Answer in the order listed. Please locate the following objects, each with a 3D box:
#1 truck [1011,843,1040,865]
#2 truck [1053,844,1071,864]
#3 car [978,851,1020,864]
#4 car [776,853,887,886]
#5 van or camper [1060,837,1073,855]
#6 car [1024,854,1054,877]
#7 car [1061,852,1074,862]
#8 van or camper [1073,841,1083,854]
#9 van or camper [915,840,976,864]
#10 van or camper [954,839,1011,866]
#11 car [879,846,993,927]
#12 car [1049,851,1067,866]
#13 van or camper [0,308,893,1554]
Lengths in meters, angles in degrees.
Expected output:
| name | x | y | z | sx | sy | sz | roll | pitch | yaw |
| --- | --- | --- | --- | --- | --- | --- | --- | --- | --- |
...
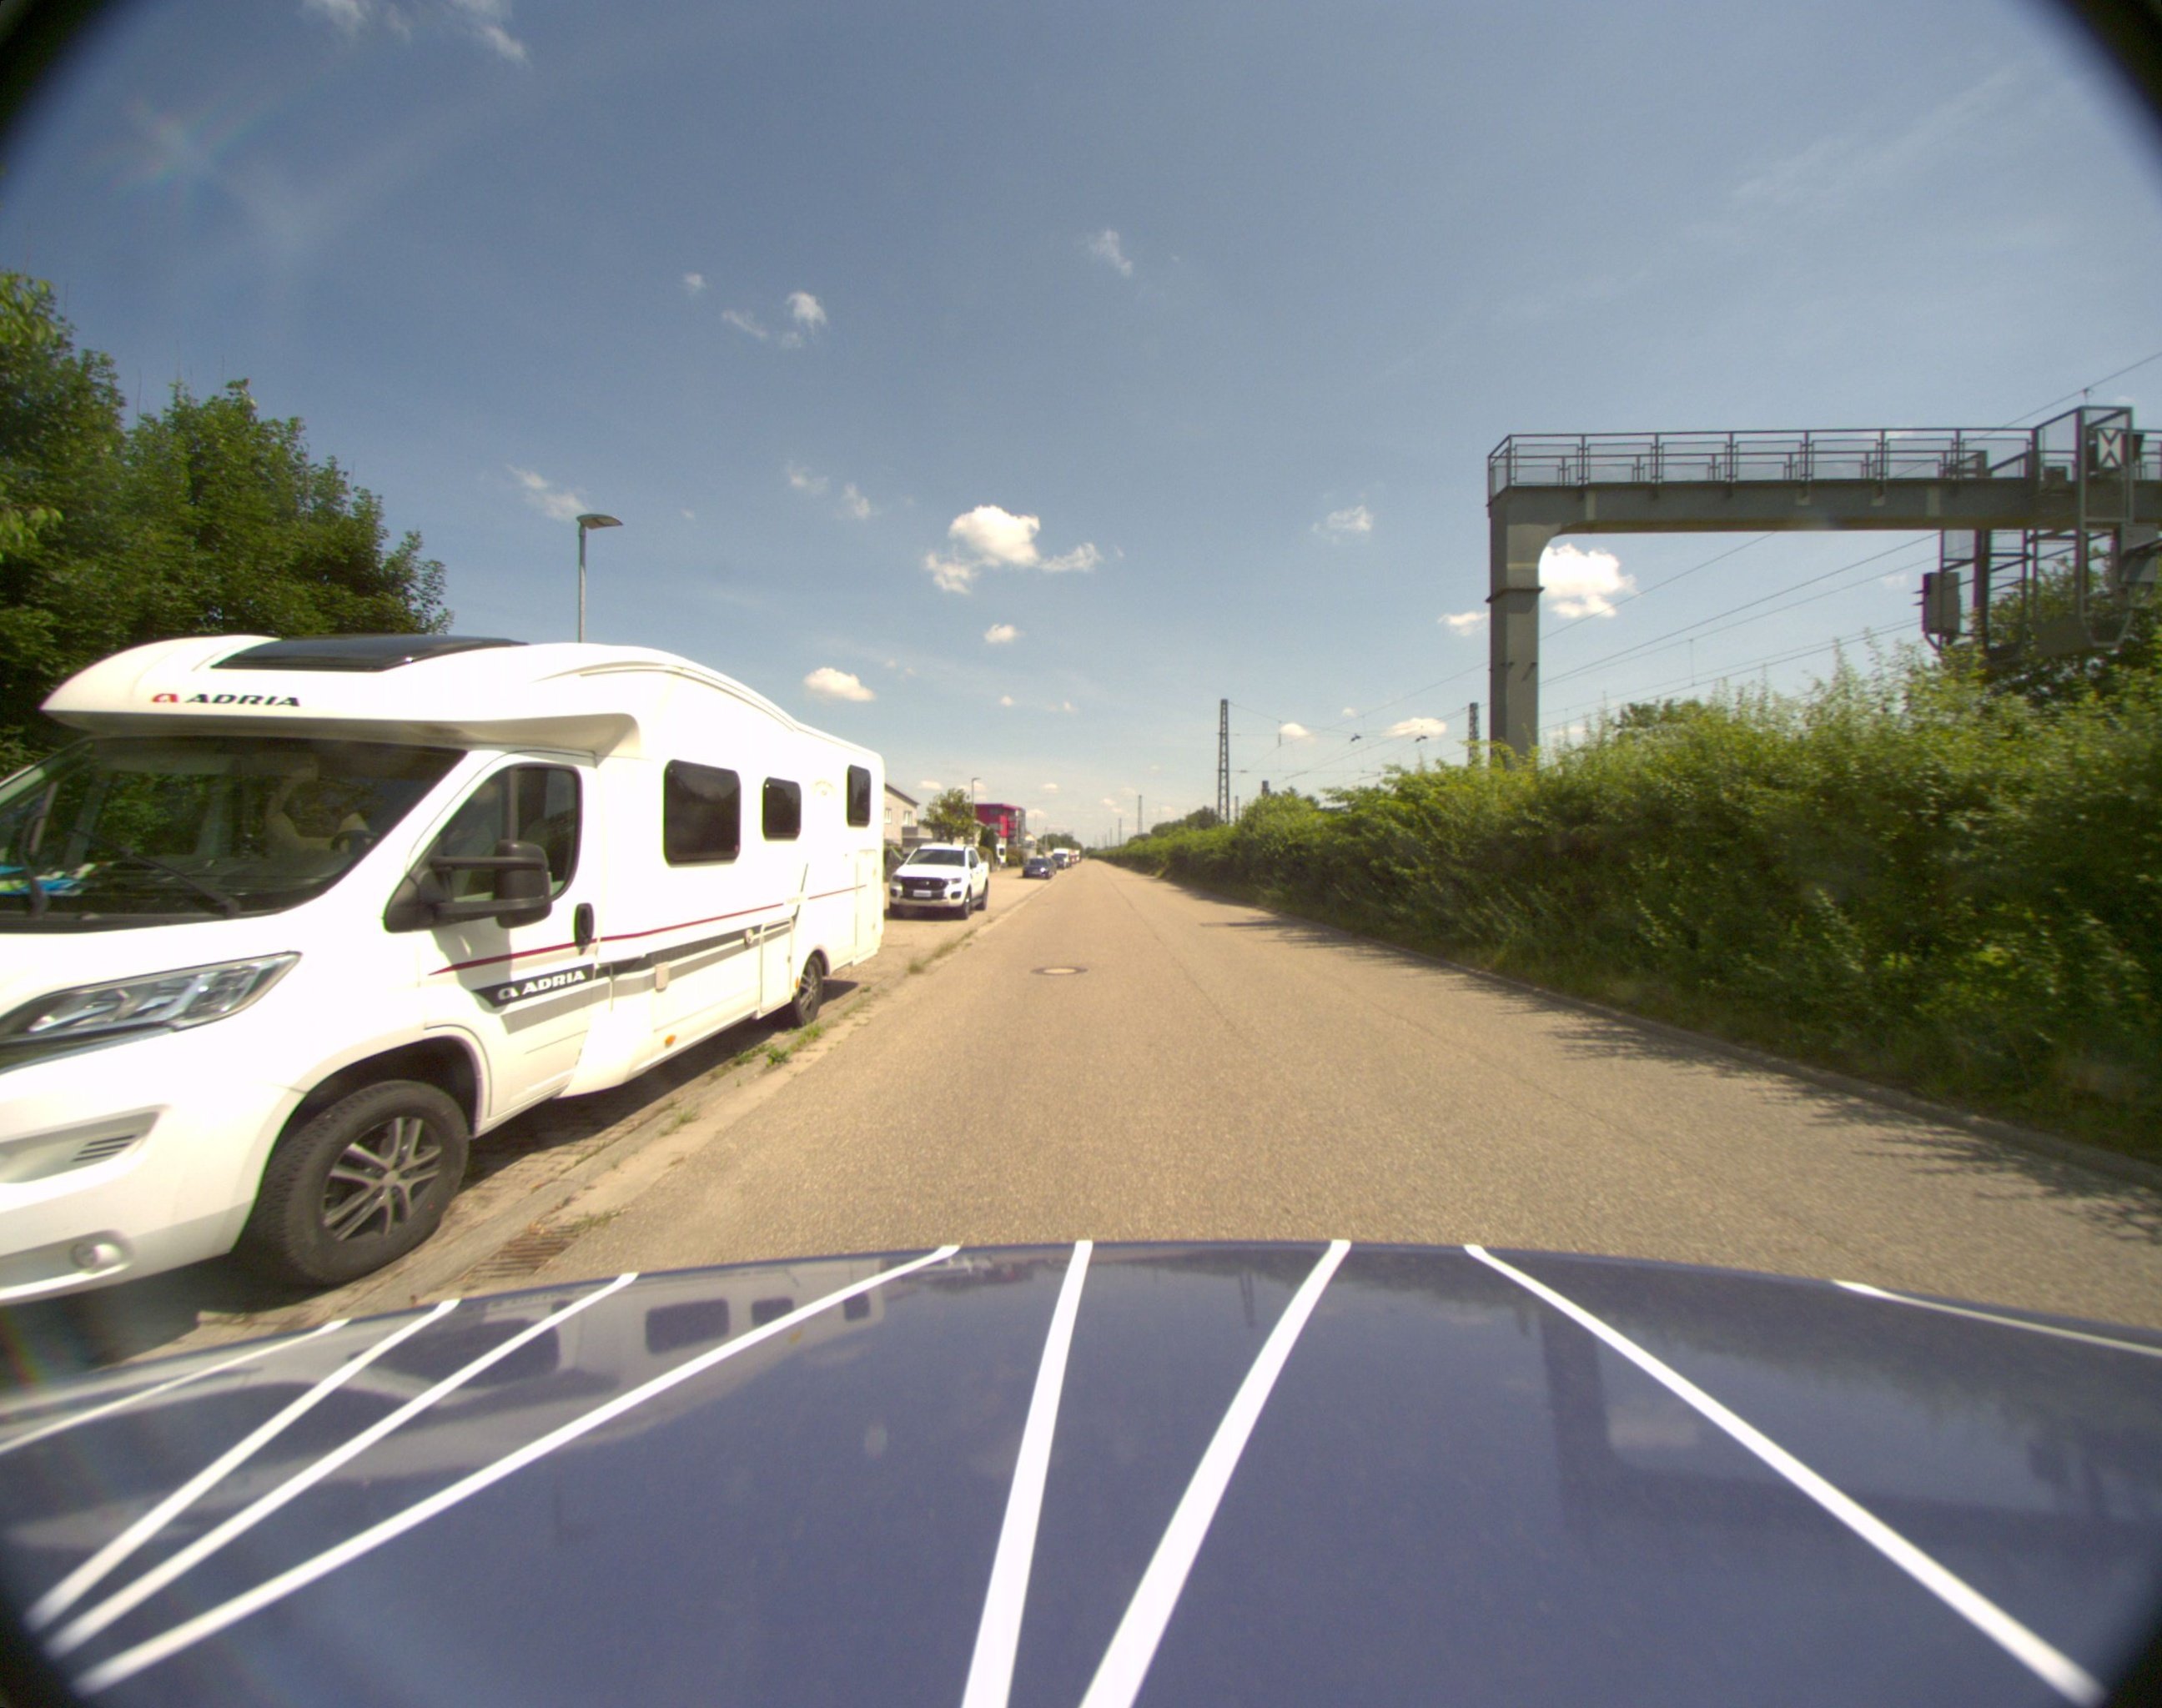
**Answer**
| name | x | y | z | sx | sy | sz | roll | pitch | yaw |
| --- | --- | --- | --- | --- | --- | --- | --- | --- | --- |
| truck | -7.125 | -0.012 | 98.582 | 2.381 | 2.673 | 5.787 | 1 | 0 | 10 |
| truck | -2.427 | 0.008 | 99.244 | 1.998 | 2.550 | 5.289 | 1 | 0 | 2 |
| car | -9.256 | 0.392 | 85.981 | 4.605 | 1.478 | 1.714 | 1 | 0 | 1 |
| car | -11.198 | 0.668 | 34.227 | 4.275 | 1.412 | 1.978 | 1 | 0 | 10 |
| van or camper | -2.278 | -1.268 | 121.916 | 1.998 | 2.855 | 4.395 | 0 | 1 | 1 |
| car | -2.837 | 0.752 | 52.118 | 1.766 | 1.464 | 4.718 | 1 | 0 | 1 |
| car | -1.961 | 0.434 | 110.917 | 1.805 | 1.361 | 3.756 | -2 | 0 | 1 |
| van or camper | -0.755 | -1.701 | 199.958 | 2.333 | 3.497 | 4.770 | -1 | 1 | 1 |
| van or camper | -14.101 | -0.183 | 79.143 | 5.831 | 2.423 | 2.136 | 1 | 1 | 11 |
| van or camper | -9.690 | -0.147 | 74.696 | 5.098 | 2.519 | 2.002 | 1 | 1 | 14 |
| car | -3.590 | 0.719 | 19.911 | 1.852 | 1.804 | 5.424 | 1 | 0 | 1 |
| car | -2.568 | 0.499 | 86.832 | 1.805 | 1.692 | 4.000 | 2 | 0 | 1 |
| van or camper | -3.601 | 0.145 | 5.465 | 2.445 | 2.810 | 7.623 | 2 | 0 | 1 |
